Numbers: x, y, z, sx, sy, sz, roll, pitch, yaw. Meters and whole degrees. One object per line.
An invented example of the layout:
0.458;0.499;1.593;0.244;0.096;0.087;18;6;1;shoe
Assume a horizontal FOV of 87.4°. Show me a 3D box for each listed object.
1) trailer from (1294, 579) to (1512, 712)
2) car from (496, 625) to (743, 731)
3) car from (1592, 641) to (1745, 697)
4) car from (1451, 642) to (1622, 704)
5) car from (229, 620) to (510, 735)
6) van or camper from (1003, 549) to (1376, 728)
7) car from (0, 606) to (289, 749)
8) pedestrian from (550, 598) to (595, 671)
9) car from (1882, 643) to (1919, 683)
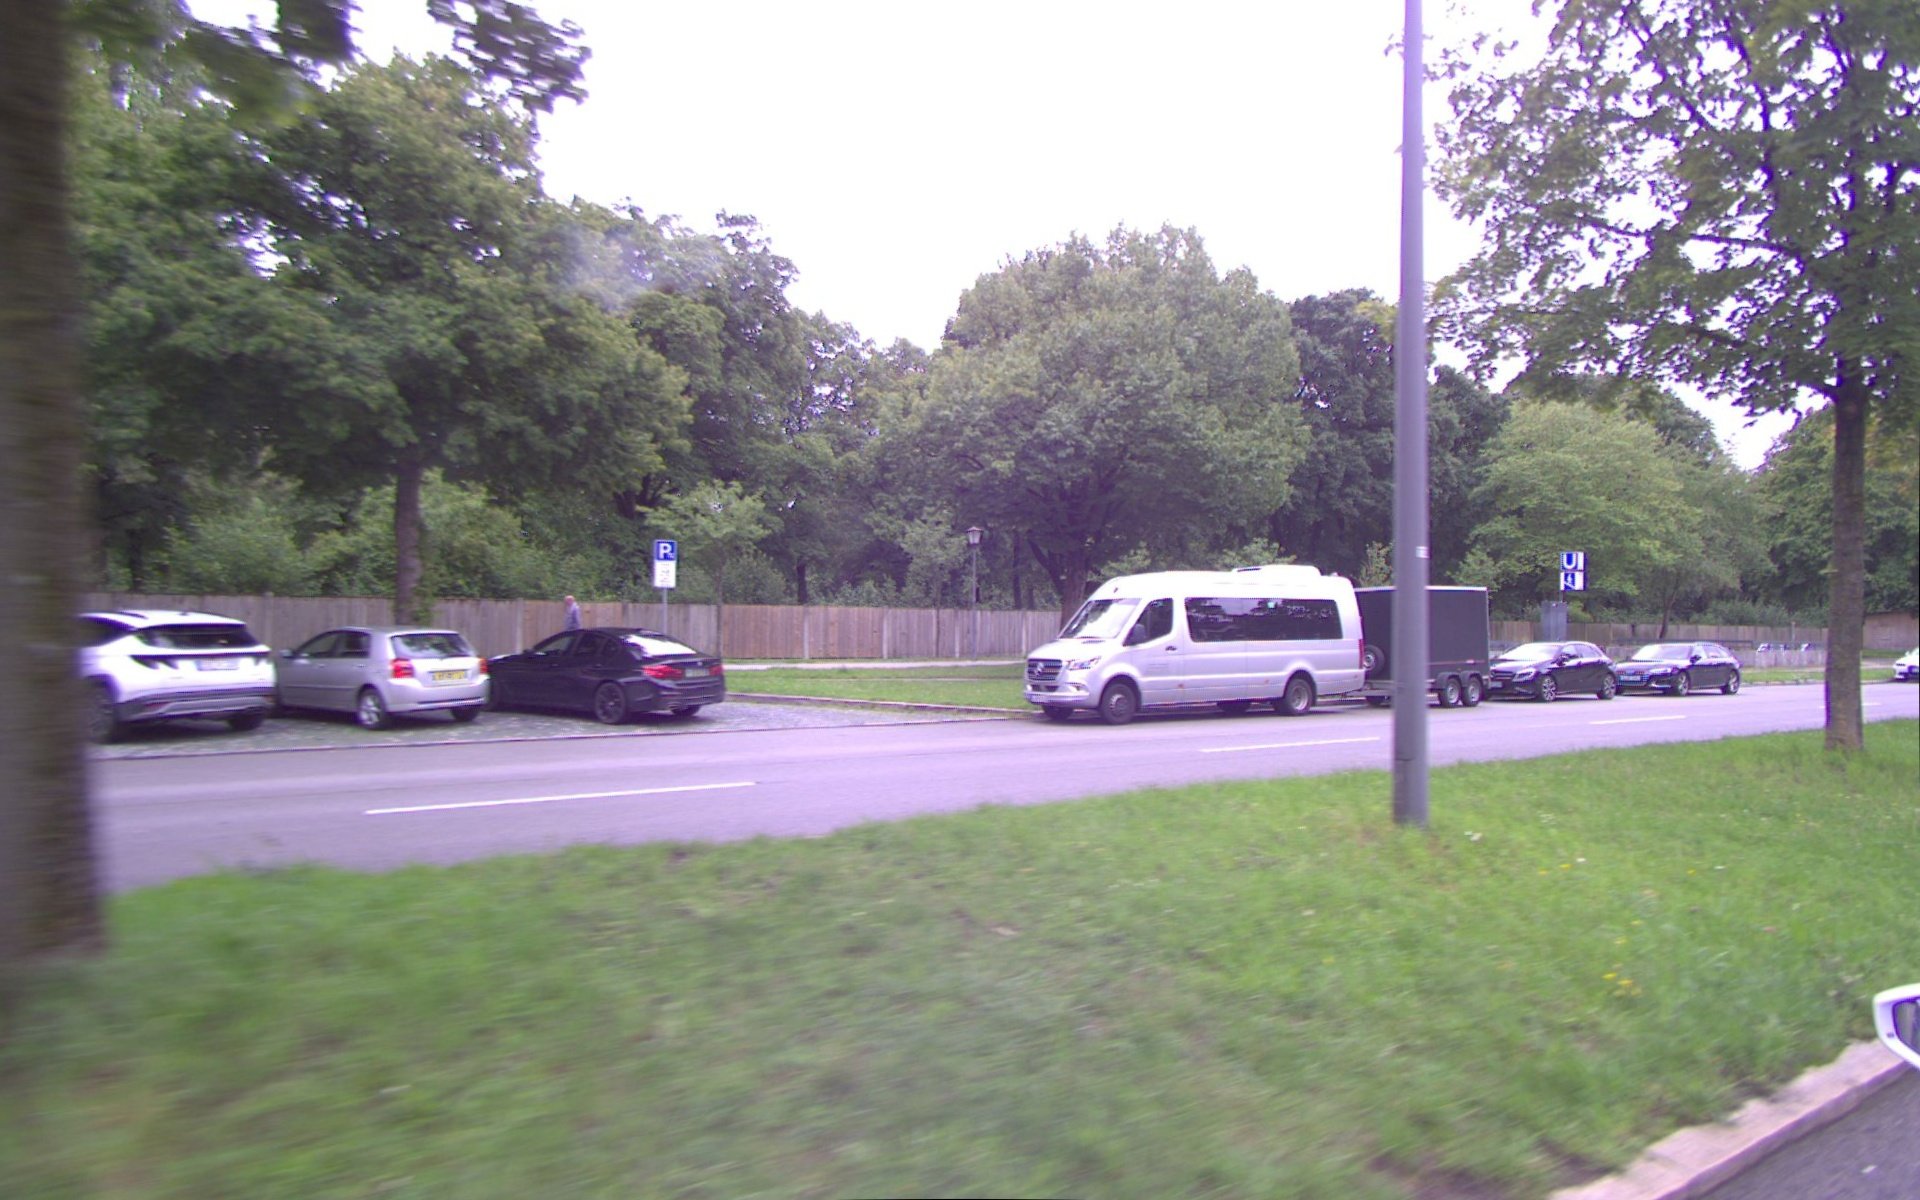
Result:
9.650;0.990;21.841;4.604;2.624;2.008;1;-3;-30;trailer
-5.744;1.216;16.864;3.929;1.453;1.798;1;-1;31;car
19.567;1.855;27.715;4.379;1.444;1.792;1;-3;-30;car
14.240;1.751;24.776;4.188;1.402;1.792;1;-3;-30;car
-9.160;1.109;15.587;3.924;1.485;1.800;1;0;24;car
4.478;0.734;18.839;7.457;2.875;2.026;1;-3;-30;van or camper
-11.443;0.968;13.869;3.924;1.644;1.800;1;0;25;car
-9.623;0.856;24.930;0.865;1.790;0.763;2;-2;-34;pedestrian
37.673;2.392;38.708;4.819;1.492;1.848;1;-3;-31;car
